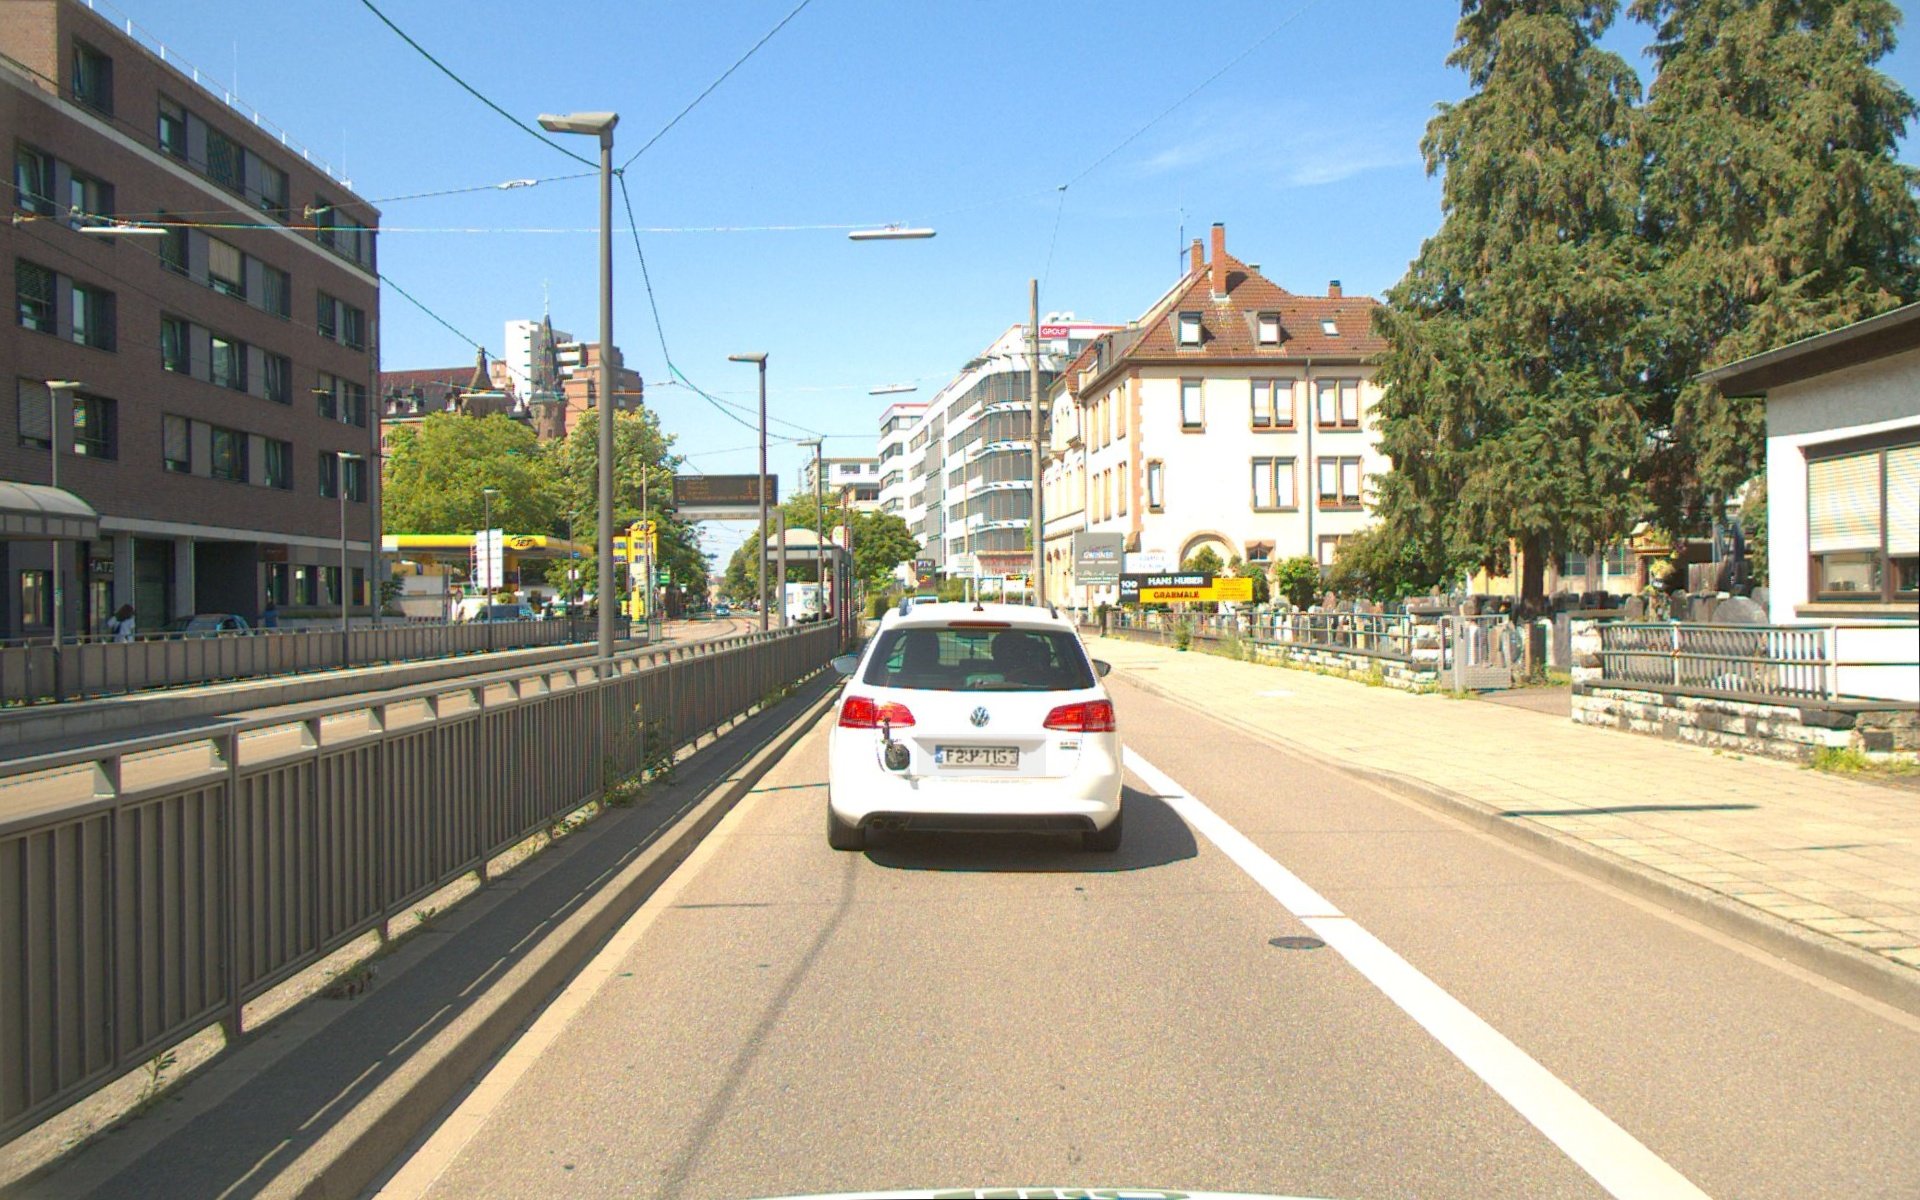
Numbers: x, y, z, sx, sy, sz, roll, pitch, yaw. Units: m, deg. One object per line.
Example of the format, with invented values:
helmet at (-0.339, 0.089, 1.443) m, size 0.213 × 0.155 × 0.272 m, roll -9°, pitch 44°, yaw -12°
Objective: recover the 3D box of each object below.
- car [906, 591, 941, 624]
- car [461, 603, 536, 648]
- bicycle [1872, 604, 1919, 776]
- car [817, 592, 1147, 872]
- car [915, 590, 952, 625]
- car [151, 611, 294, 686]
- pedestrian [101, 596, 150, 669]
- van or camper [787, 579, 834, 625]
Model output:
car at (-2.349, 0.474, 106.912) m, size 1.955 × 2.049 × 3.996 m, roll -1°, pitch 0°, yaw -5°
car at (-16.354, 0.878, 58.798) m, size 1.634 × 1.492 × 3.772 m, roll -1°, pitch 0°, yaw -1°
bicycle at (7.262, 0.588, 11.356) m, size 1.677 × 1.150 × 0.525 m, roll -1°, pitch 0°, yaw 1°
car at (0.181, 0.693, 10.643) m, size 1.716 × 1.442 × 3.854 m, roll 1°, pitch 0°, yaw 2°
car at (-1.633, 0.449, 101.503) m, size 1.955 × 2.049 × 3.996 m, roll -1°, pitch 0°, yaw -5°
car at (-16.009, 1.021, 36.086) m, size 1.541 × 1.484 × 3.736 m, roll -1°, pitch 0°, yaw -2°
pedestrian at (-21.170, 0.805, 41.965) m, size 0.710 × 1.822 × 0.964 m, roll -1°, pitch 0°, yaw -1°
van or camper at (-10.987, 0.161, 121.188) m, size 2.890 × 3.235 × 6.598 m, roll -1°, pitch 0°, yaw -10°
